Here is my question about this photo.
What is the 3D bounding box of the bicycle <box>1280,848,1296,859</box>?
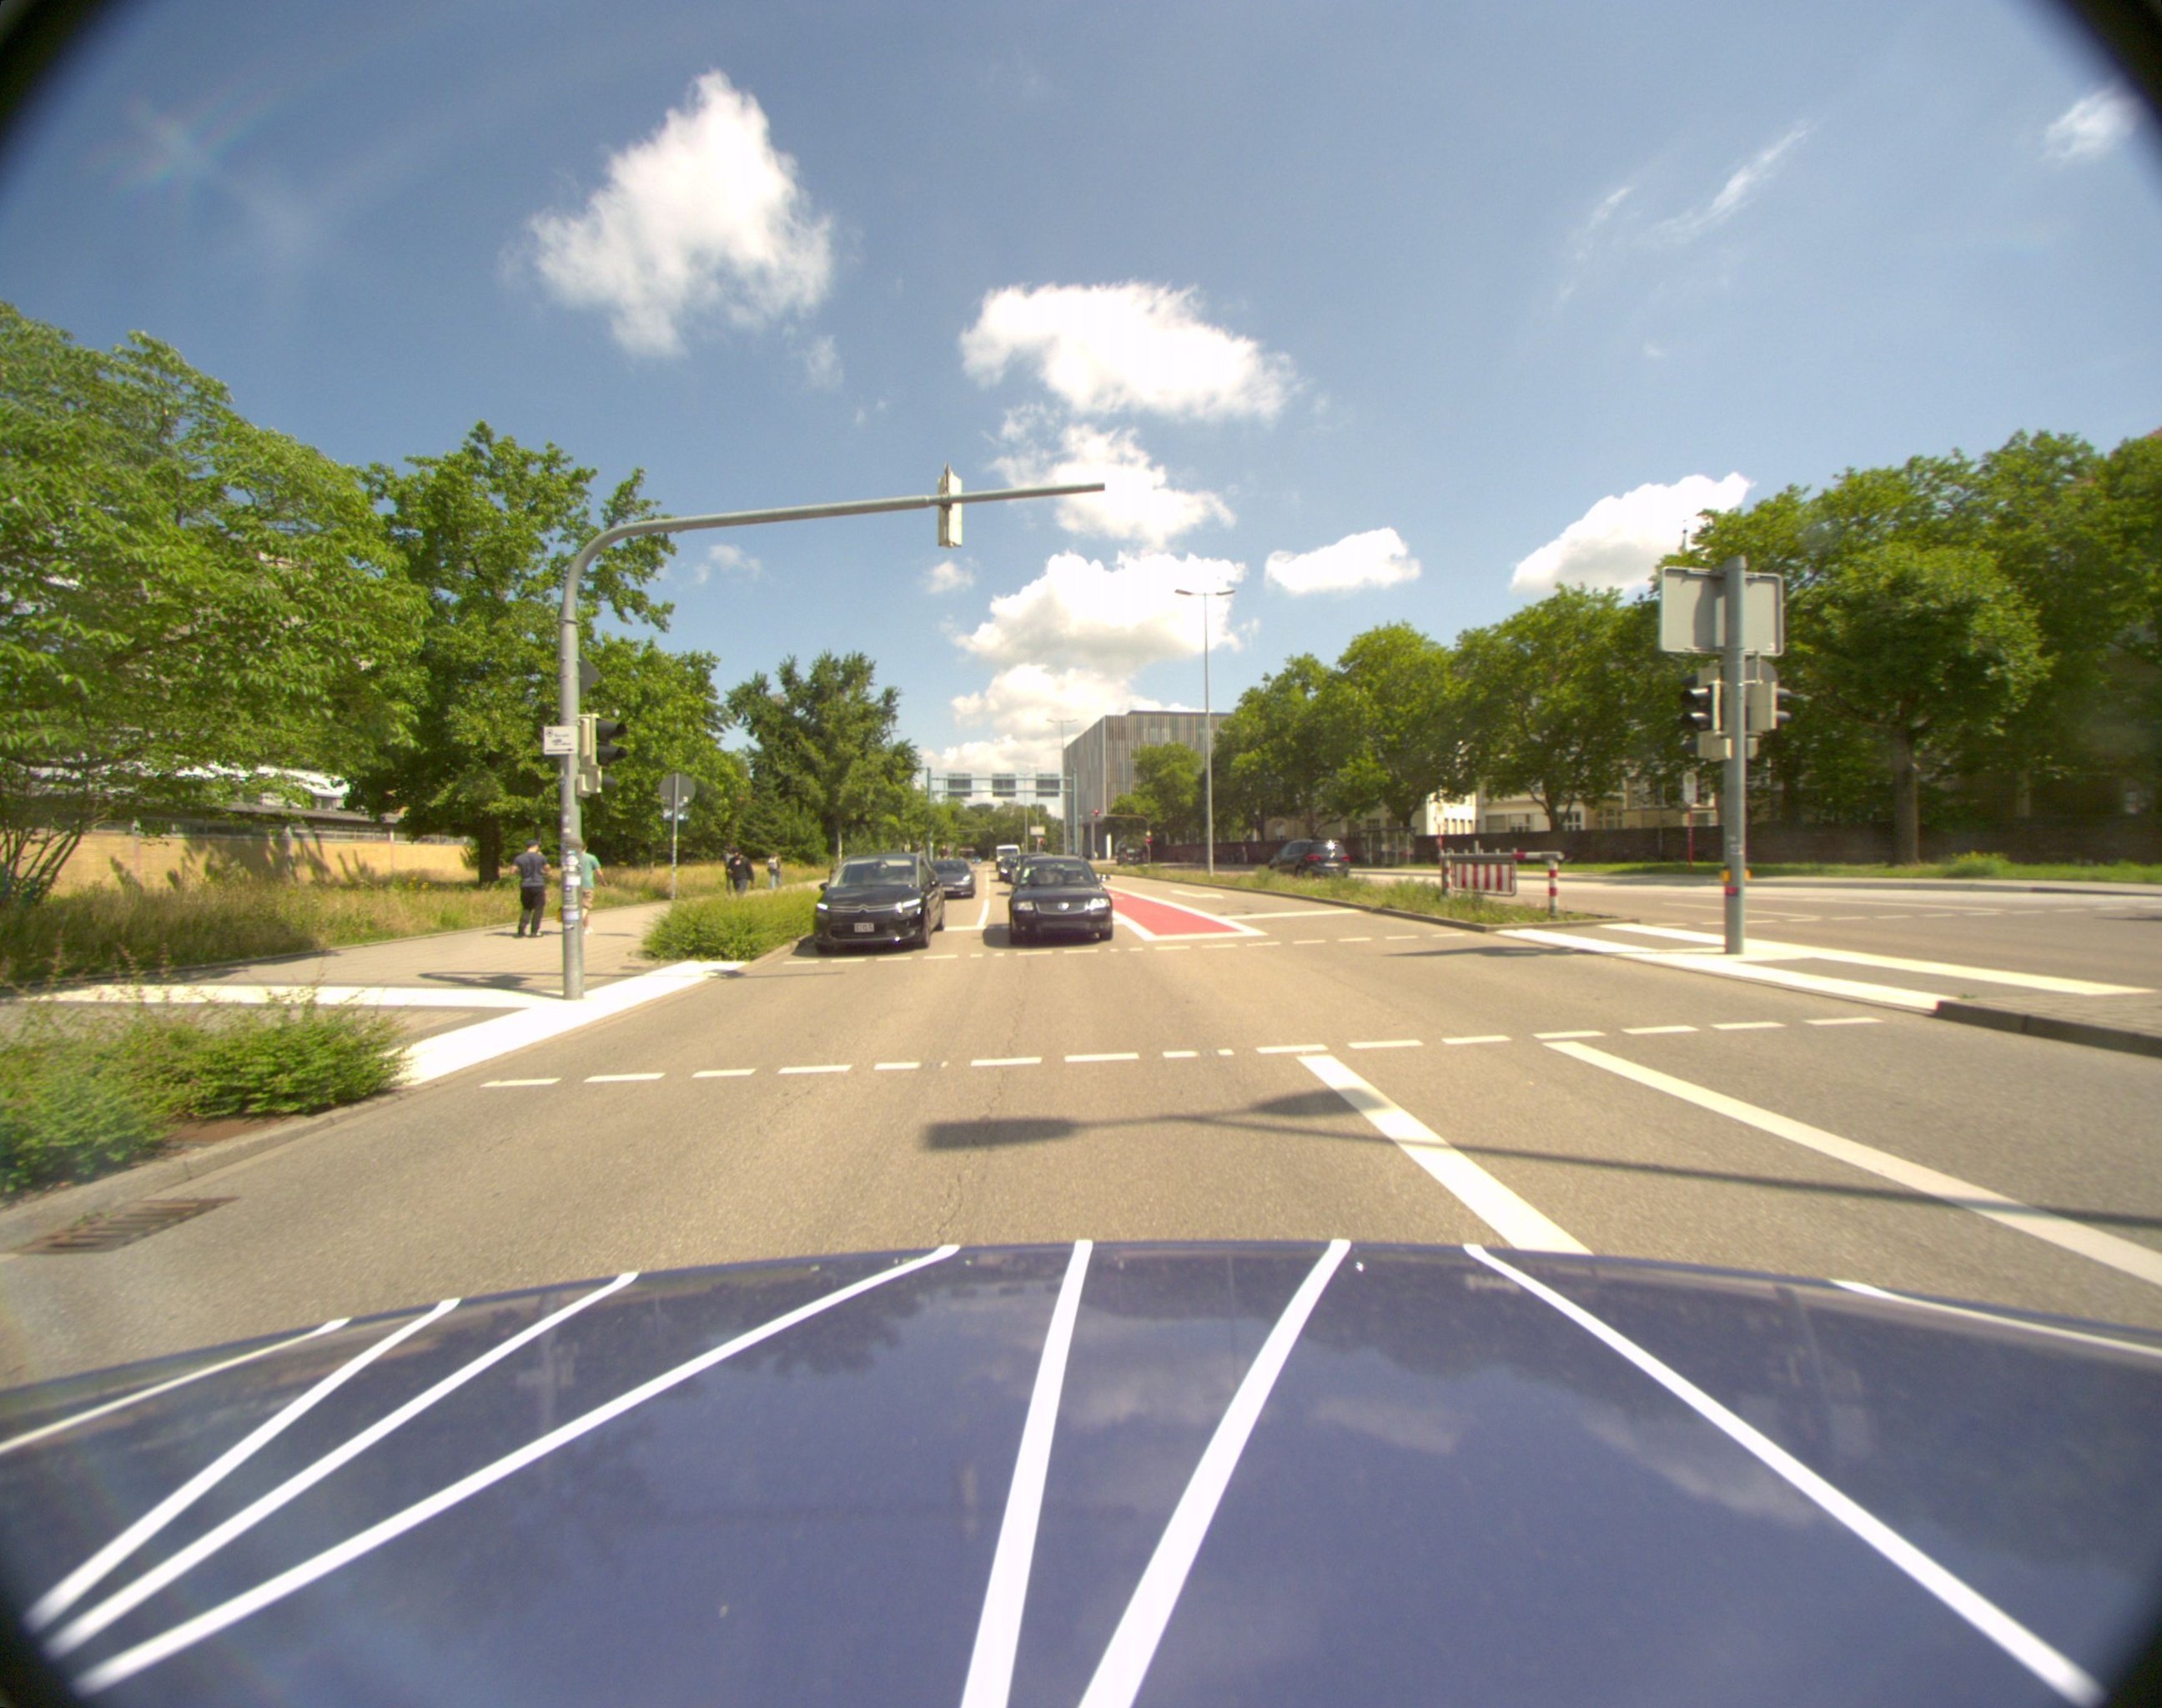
[{"bbox_3d":[19.014,-0.059,69.781,0.398,1.037,1.758,-1,1,-22],"label":"bicycle"}]

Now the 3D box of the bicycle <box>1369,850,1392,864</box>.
[{"bbox_3d":[23.489,0.241,59.608,0.398,1.037,1.953,-1,1,-27],"label":"bicycle"}]

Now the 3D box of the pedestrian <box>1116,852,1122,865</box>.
[{"bbox_3d":[5.867,0.716,117.856,0.715,1.906,0.807,-3,2,-13],"label":"pedestrian"}]

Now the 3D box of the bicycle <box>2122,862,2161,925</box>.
[{"bbox_3d":[15.837,0.567,10.193,0.778,0.884,2.107,-1,0,-4],"label":"bicycle"}]

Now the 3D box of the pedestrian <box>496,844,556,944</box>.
[{"bbox_3d":[-9.862,0.697,13.520,0.669,1.736,0.609,0,0,-13],"label":"pedestrian"}]

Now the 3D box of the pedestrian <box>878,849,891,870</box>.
[{"bbox_3d":[-16.567,0.467,64.076,0.845,1.755,0.841,-2,2,-8],"label":"pedestrian"}]

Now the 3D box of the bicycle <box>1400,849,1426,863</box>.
[{"bbox_3d":[24.791,0.148,56.766,0.398,1.037,1.953,-1,1,-27],"label":"bicycle"}]

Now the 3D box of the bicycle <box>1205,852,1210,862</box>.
[{"bbox_3d":[14.012,0.362,84.271,0.382,1.101,1.672,-1,1,14],"label":"bicycle"}]

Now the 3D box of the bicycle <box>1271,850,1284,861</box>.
[{"bbox_3d":[18.430,0.137,71.277,0.378,1.037,1.414,-1,1,-22],"label":"bicycle"}]

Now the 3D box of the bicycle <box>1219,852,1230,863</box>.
[{"bbox_3d":[15.195,0.356,80.594,0.383,1.101,1.667,-1,1,-18],"label":"bicycle"}]

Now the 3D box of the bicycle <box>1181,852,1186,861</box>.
[{"bbox_3d":[12.241,0.331,90.679,0.329,1.012,1.672,-1,1,14],"label":"bicycle"}]

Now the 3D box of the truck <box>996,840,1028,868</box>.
[{"bbox_3d":[-6.144,0.023,67.170,2.463,2.287,5.811,-3,0,-8],"label":"truck"}]

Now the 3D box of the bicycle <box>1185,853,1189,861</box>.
[{"bbox_3d":[12.499,0.342,89.777,0.329,1.012,1.672,-1,1,14],"label":"bicycle"}]

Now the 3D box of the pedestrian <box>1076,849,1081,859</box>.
[{"bbox_3d":[-0.455,0.053,146.073,0.715,1.906,0.807,-3,2,-13],"label":"pedestrian"}]

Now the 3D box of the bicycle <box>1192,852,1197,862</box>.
[{"bbox_3d":[13.008,0.350,87.002,0.382,1.101,1.672,-1,1,14],"label":"bicycle"}]

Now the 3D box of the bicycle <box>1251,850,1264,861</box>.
[{"bbox_3d":[17.306,0.130,74.421,0.383,1.037,1.667,-1,1,-20],"label":"bicycle"}]

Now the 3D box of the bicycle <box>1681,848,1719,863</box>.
[{"bbox_3d":[33.982,0.074,41.735,0.399,0.784,1.540,-2,1,-34],"label":"bicycle"}]

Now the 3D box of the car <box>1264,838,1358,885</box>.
[{"bbox_3d":[8.705,0.272,29.176,1.887,1.614,4.152,-2,0,-7],"label":"car"}]

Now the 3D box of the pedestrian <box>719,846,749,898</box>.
[{"bbox_3d":[-11.881,0.613,26.023,0.751,1.739,0.667,0,0,-8],"label":"pedestrian"}]

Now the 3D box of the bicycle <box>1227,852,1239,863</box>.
[{"bbox_3d":[15.796,0.323,79.002,0.383,1.101,1.667,-1,1,-20],"label":"bicycle"}]

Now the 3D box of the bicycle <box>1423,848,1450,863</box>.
[{"bbox_3d":[25.684,0.125,54.942,0.398,1.037,1.953,-1,1,-27],"label":"bicycle"}]

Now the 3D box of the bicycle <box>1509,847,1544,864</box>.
[{"bbox_3d":[28.979,0.104,49.432,0.398,1.130,2.034,-1,1,-32],"label":"bicycle"}]

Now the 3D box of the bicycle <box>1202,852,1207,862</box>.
[{"bbox_3d":[13.774,0.357,85.001,0.382,1.101,1.672,-1,1,14],"label":"bicycle"}]

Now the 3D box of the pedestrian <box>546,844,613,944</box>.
[{"bbox_3d":[-9.140,0.703,13.888,0.752,1.767,0.880,0,0,-13],"label":"pedestrian"}]

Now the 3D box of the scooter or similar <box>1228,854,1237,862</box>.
[{"bbox_3d":[15.473,0.435,77.716,0.353,0.838,1.068,-1,1,-20],"label":"scooter or similar"}]

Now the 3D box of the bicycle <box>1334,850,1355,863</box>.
[{"bbox_3d":[21.811,0.234,62.995,0.398,1.037,1.954,-1,1,-24],"label":"bicycle"}]

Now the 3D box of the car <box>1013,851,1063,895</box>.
[{"bbox_3d":[-1.776,0.691,30.082,1.752,1.496,4.518,-3,0,-5],"label":"car"}]

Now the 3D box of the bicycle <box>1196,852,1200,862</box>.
[{"bbox_3d":[13.339,0.344,86.632,0.382,1.101,1.672,-1,1,14],"label":"bicycle"}]

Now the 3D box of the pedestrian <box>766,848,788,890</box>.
[{"bbox_3d":[-12.968,0.630,32.477,0.668,1.739,0.877,0,0,-8],"label":"pedestrian"}]

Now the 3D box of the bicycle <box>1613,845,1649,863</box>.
[{"bbox_3d":[32.127,-0.023,44.388,0.399,1.024,1.683,-2,1,-34],"label":"bicycle"}]

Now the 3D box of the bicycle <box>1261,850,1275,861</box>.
[{"bbox_3d":[17.893,0.123,72.748,0.383,1.037,1.667,-1,1,-20],"label":"bicycle"}]

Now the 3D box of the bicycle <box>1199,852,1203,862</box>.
[{"bbox_3d":[13.556,0.352,85.839,0.382,1.101,1.672,-1,1,14],"label":"bicycle"}]

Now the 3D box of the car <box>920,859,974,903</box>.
[{"bbox_3d":[-4.964,0.938,28.344,1.767,1.409,4.360,-3,0,-9],"label":"car"}]

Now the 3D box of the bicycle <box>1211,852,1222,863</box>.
[{"bbox_3d":[14.718,0.380,82.572,0.383,1.101,1.668,-1,1,-17],"label":"bicycle"}]

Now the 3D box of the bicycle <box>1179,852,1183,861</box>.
[{"bbox_3d":[12.011,0.326,91.384,0.329,1.012,1.672,-1,1,14],"label":"bicycle"}]

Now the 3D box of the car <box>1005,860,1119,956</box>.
[{"bbox_3d":[-0.512,0.855,14.101,1.752,1.426,4.518,-1,0,-6],"label":"car"}]

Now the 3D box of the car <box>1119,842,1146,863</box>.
[{"bbox_3d":[5.557,-0.134,82.310,2.215,2.158,4.518,0,0,-5],"label":"car"}]

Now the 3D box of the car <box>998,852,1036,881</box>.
[{"bbox_3d":[-3.776,0.689,44.289,1.753,1.496,4.516,-3,0,-10],"label":"car"}]

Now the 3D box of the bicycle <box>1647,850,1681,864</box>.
[{"bbox_3d":[33.033,0.150,43.071,0.399,0.784,1.462,-2,1,-34],"label":"bicycle"}]

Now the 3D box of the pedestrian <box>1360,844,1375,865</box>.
[{"bbox_3d":[21.939,0.066,58.232,0.724,1.602,0.779,-2,1,-37],"label":"pedestrian"}]

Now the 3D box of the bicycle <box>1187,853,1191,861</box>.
[{"bbox_3d":[12.701,0.354,89.086,0.329,1.012,1.672,-1,1,14],"label":"bicycle"}]

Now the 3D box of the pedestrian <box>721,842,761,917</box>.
[{"bbox_3d":[-8.089,0.602,18.102,0.668,1.739,0.847,0,0,-8],"label":"pedestrian"}]

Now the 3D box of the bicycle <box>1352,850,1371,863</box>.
[{"bbox_3d":[22.641,0.233,61.310,0.398,1.037,1.636,-1,1,-27],"label":"bicycle"}]

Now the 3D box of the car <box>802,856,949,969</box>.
[{"bbox_3d":[-3.535,0.903,13.929,1.864,1.613,4.517,-3,0,-7],"label":"car"}]
